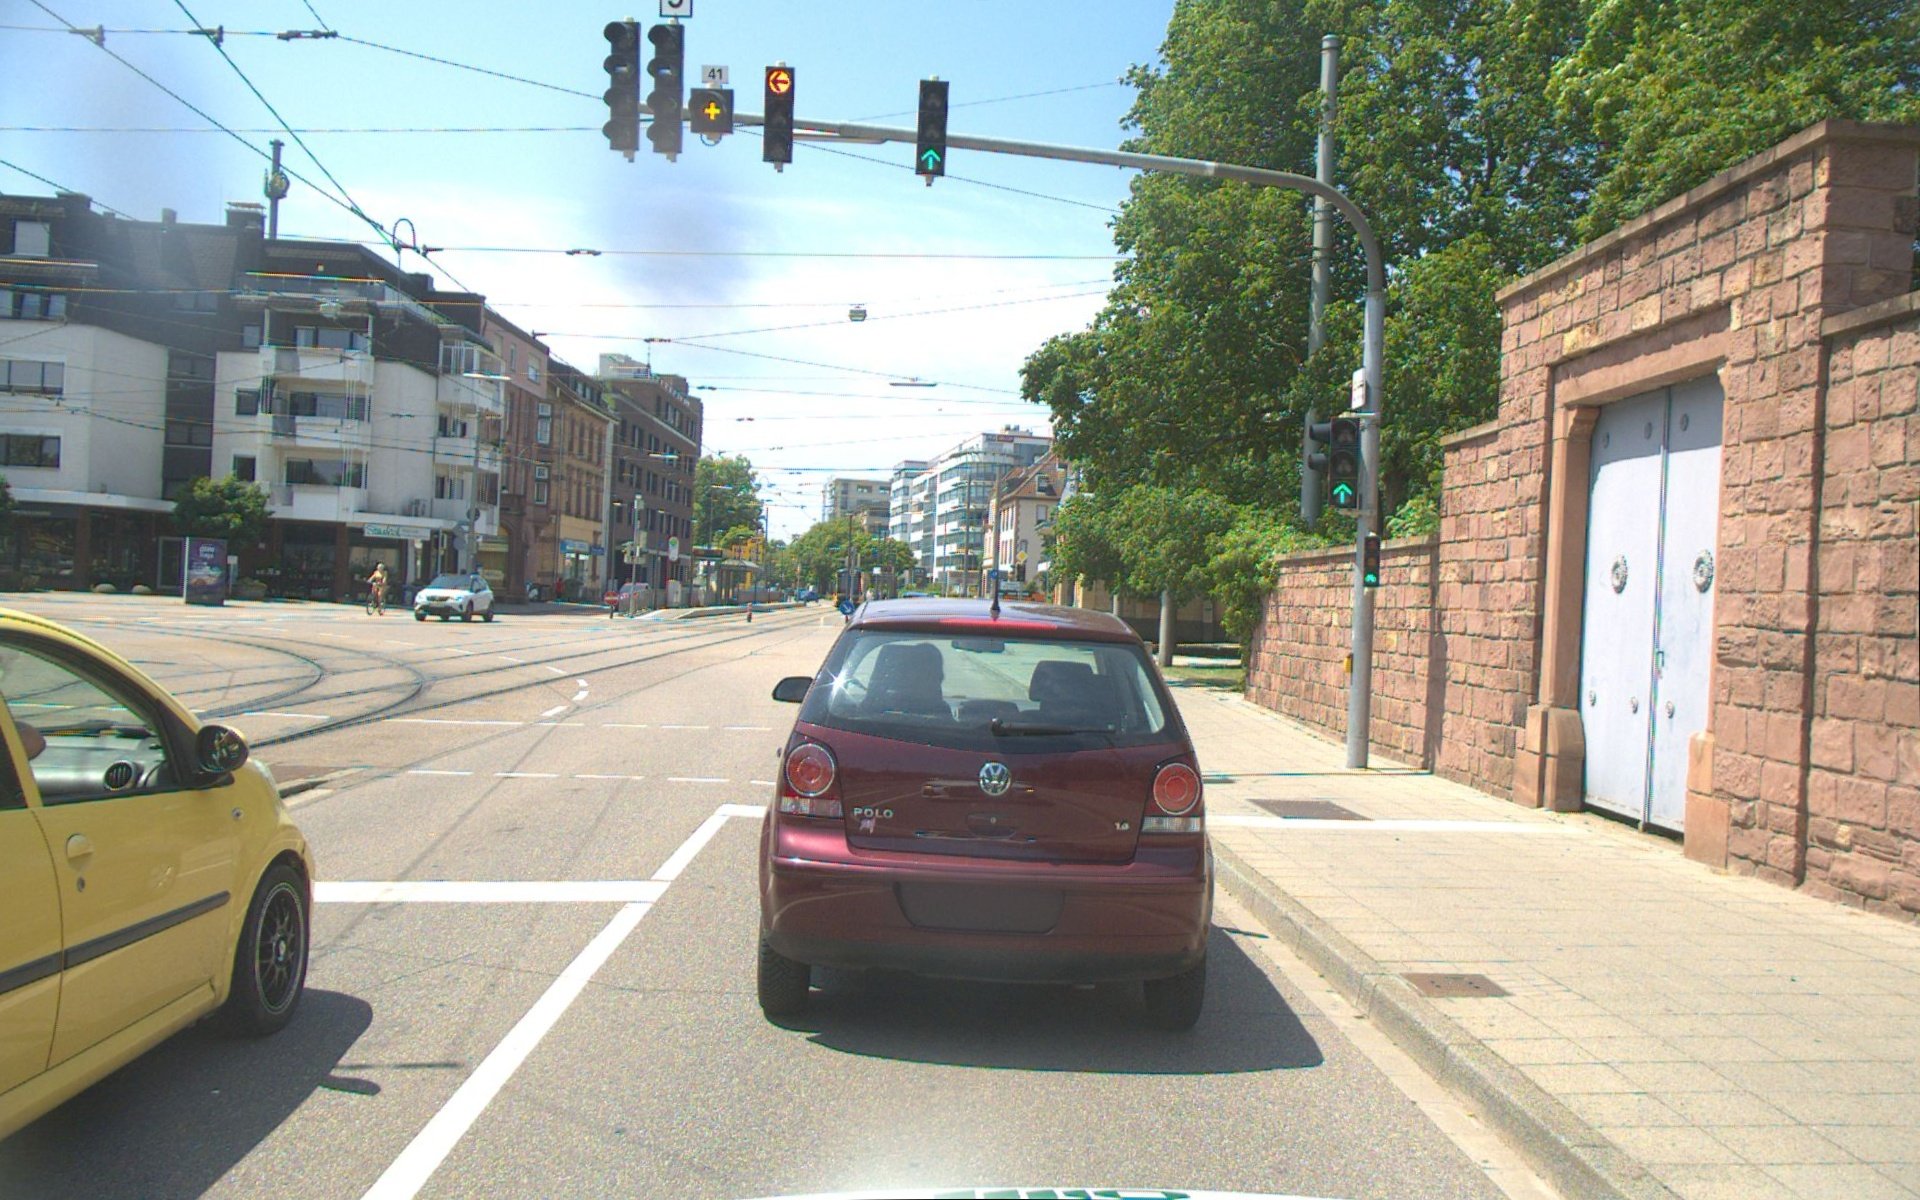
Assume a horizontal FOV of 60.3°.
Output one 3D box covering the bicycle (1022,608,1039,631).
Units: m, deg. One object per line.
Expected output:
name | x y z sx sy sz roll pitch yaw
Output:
bicycle | 3.485 0.956 81.981 0.655 1.020 1.863 -2 1 -2

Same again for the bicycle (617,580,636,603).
bicycle | -20.126 -0.509 99.752 0.663 1.327 2.105 3 1 0

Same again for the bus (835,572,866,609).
bus | -9.453 -0.774 143.451 2.101 3.055 6.574 2 0 1

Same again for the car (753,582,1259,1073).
car | 0.101 0.712 6.708 1.530 1.479 3.060 2 0 -2

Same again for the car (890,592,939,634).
car | -1.978 0.541 70.872 1.954 1.653 4.629 2 0 -3

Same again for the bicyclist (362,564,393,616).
bicyclist | -20.692 -0.368 58.771 0.680 1.796 1.137 2 1 -2

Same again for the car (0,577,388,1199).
car | -2.896 0.677 4.394 1.583 1.446 3.654 0 0 -2

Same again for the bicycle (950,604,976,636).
bicycle | 0.110 0.773 64.786 0.367 1.218 1.905 2 0 19

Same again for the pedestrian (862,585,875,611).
pedestrian | -6.017 -0.120 108.551 0.747 1.704 1.100 2 0 -1

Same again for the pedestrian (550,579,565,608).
pedestrian | -22.175 -0.355 91.100 0.602 1.588 0.640 2 0 -2

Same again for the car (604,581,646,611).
car | -18.028 -0.235 89.166 1.591 1.509 3.827 2 0 -2

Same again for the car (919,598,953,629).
car | -1.293 0.731 90.224 1.786 1.556 4.000 2 0 0

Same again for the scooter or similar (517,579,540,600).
scooter or similar | -23.859 -0.586 91.461 0.477 1.101 1.578 2 0 15

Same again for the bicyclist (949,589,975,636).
bicyclist | 0.071 0.484 64.857 0.712 1.791 0.924 2 0 19

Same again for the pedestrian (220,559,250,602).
pedestrian | -29.869 -0.784 68.120 0.685 1.726 0.807 2 0 23

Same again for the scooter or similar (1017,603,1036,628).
scooter or similar | 3.378 0.790 84.248 0.335 1.198 1.456 3 0 -25

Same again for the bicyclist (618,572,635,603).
bicyclist | -20.107 -0.766 99.821 0.717 1.793 1.135 3 0 0

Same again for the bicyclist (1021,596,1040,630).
bicyclist | 3.513 0.631 82.008 0.815 1.646 0.859 -2 1 -2

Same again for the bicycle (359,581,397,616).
bicycle | -20.709 -0.054 58.853 0.680 1.169 1.931 2 1 -2

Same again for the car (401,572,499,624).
car | -16.746 -0.062 54.544 1.953 1.580 4.138 2 0 -1
